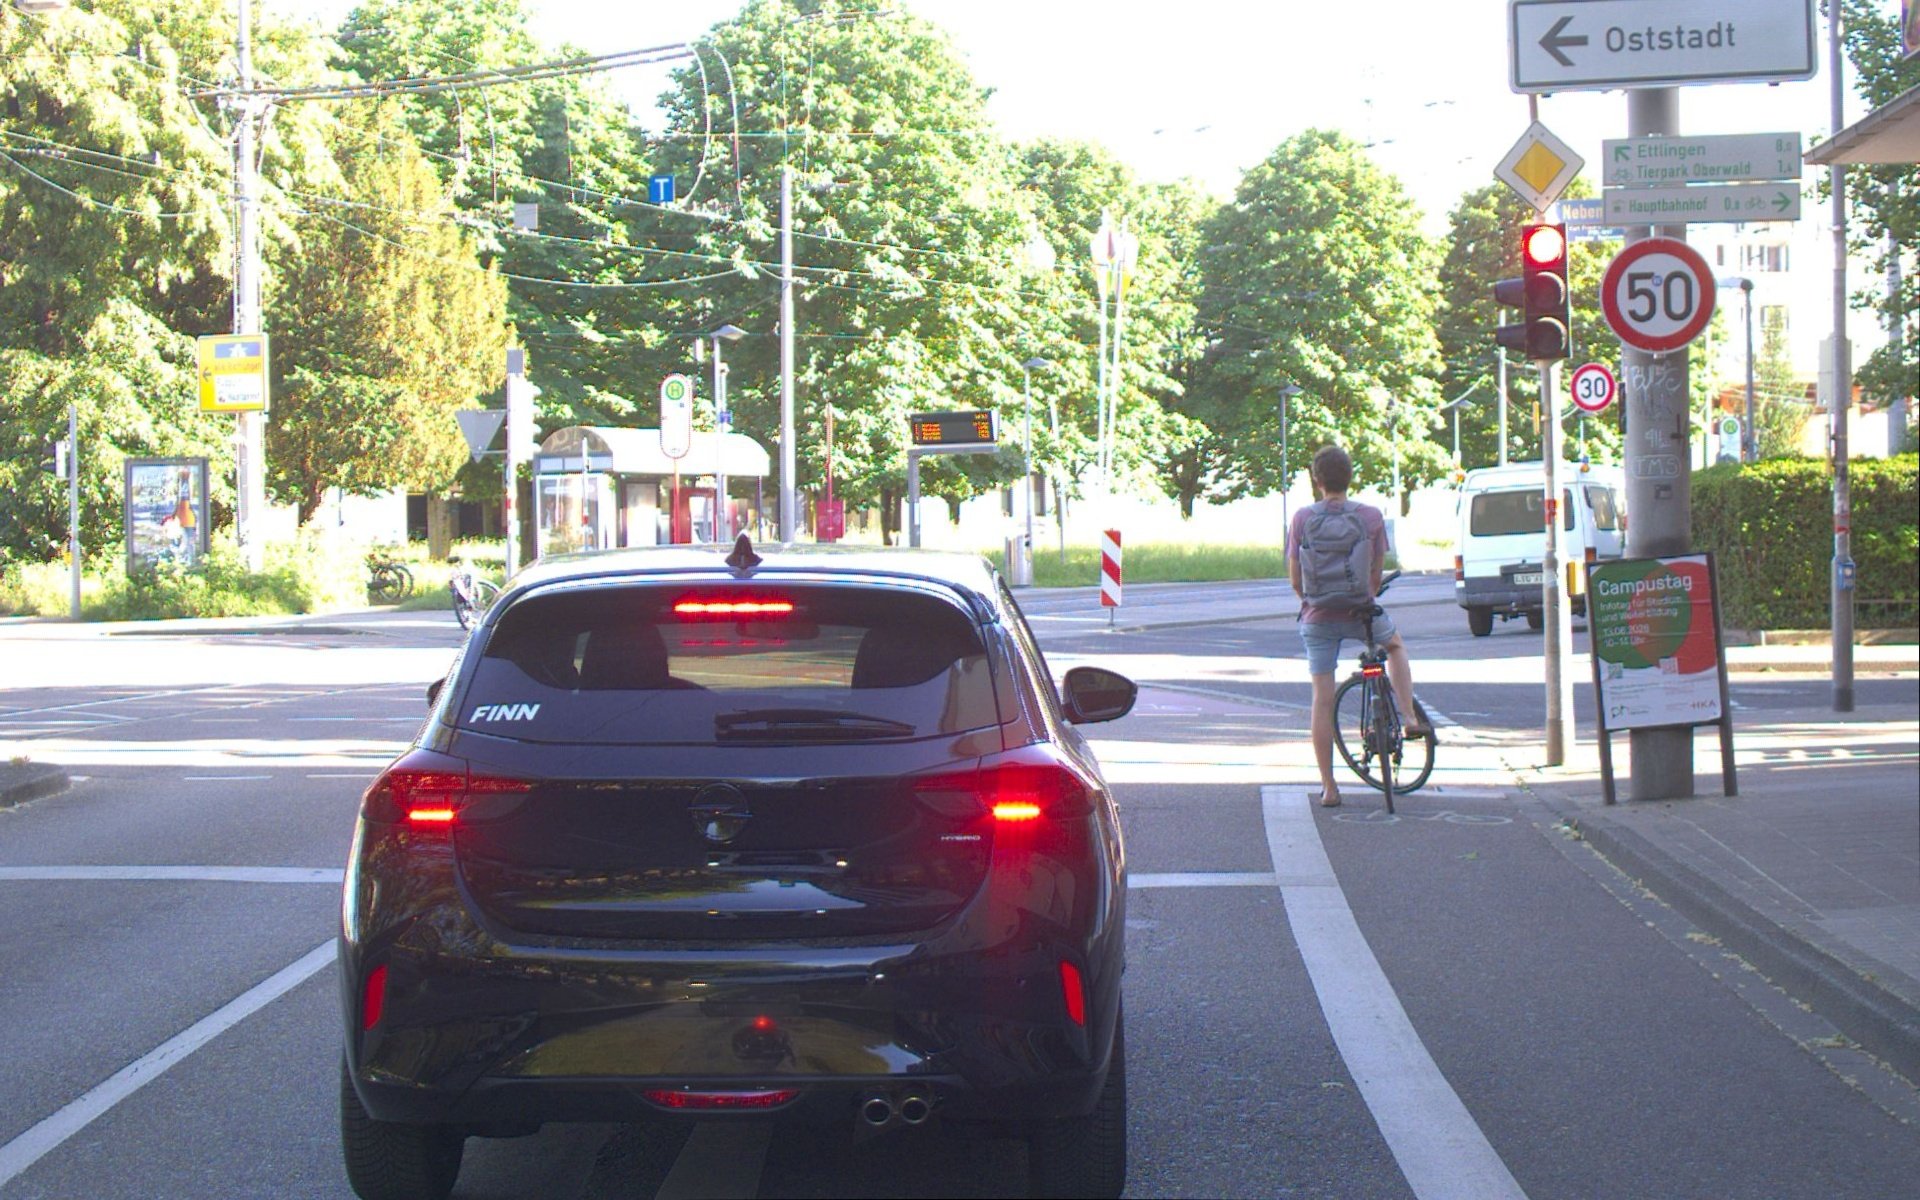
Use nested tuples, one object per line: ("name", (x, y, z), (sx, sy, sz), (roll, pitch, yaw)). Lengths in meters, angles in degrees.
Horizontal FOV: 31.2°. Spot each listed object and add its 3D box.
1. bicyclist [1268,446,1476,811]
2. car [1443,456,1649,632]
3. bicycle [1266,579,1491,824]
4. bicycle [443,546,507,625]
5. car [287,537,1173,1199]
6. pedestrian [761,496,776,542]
("bicyclist", (2.135, 0.134, 17.916), (0.941, 1.845, 0.864), (-1, 1, -1))
("car", (7.977, -0.775, 46.466), (2.065, 2.241, 4.883), (0, 1, 18))
("bicycle", (2.148, 0.489, 17.939), (0.860, 1.149, 2.172), (-1, 1, -1))
("bicycle", (-6.549, -0.209, 46.487), (0.605, 1.028, 1.982), (0, 1, -1))
("car", (-0.467, 0.563, 8.825), (1.727, 1.424, 4.187), (0, 1, 0))
("pedestrian", (-5.991, -2.535, 107.642), (0.412, 1.408, 0.436), (1, 0, -1))
